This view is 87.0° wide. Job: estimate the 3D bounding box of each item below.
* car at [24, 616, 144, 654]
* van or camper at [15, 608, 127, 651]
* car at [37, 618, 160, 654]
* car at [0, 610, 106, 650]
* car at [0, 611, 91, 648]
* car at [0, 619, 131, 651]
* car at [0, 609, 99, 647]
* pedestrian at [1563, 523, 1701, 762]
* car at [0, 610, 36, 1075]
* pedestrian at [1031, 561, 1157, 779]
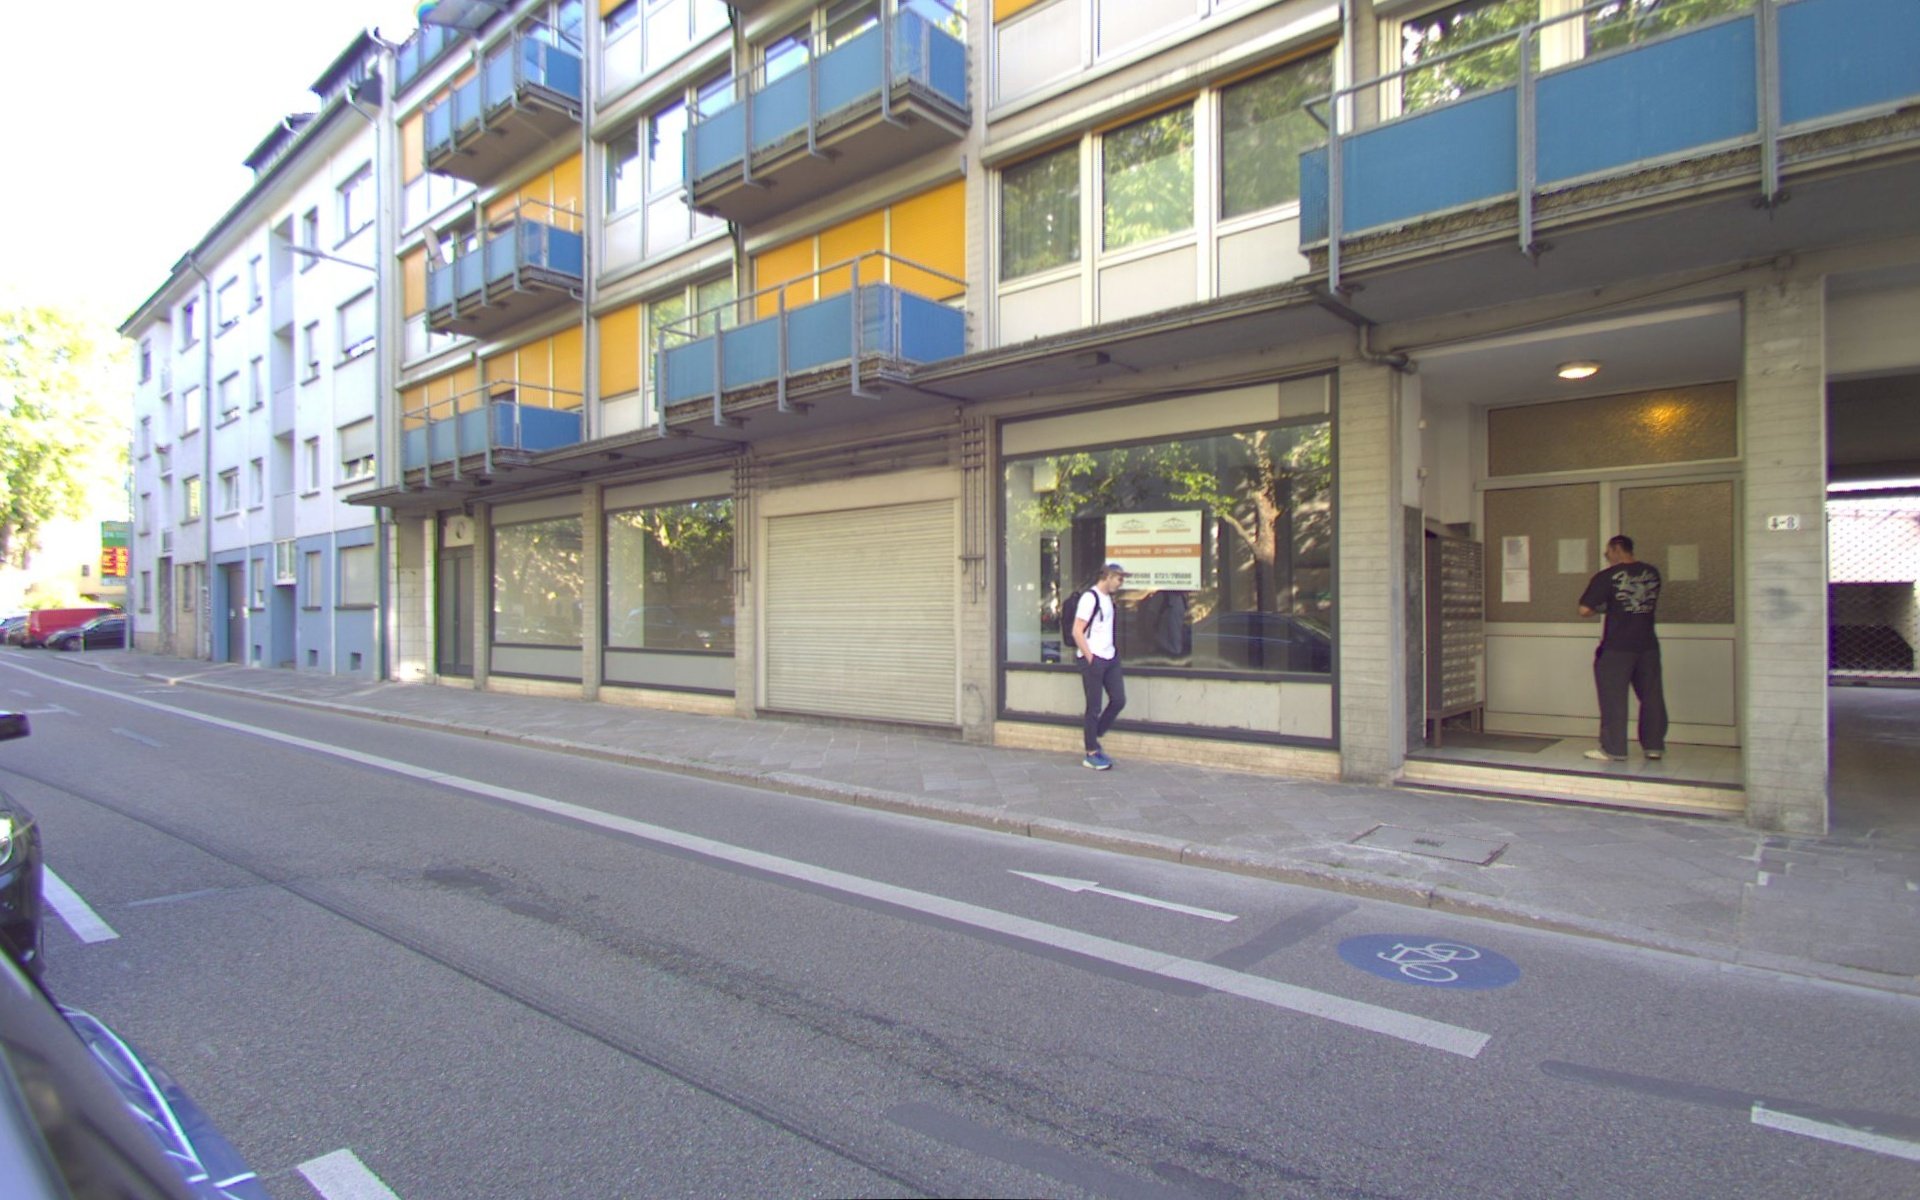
[{"bbox_3d":[-41.629,1.617,48.164,1.999,1.703,4.093,-1,-1,41],"label":"car"},{"bbox_3d":[-43.885,1.427,50.007,1.999,2.029,3.946,-1,-1,40],"label":"van or camper"},{"bbox_3d":[-39.748,1.628,46.780,1.999,1.506,4.093,-1,-1,41],"label":"car"},{"bbox_3d":[-53.311,1.732,59.198,1.999,2.210,4.927,-1,-1,41],"label":"car"},{"bbox_3d":[-57.391,1.818,62.858,1.999,2.210,4.927,-1,-1,41],"label":"car"},{"bbox_3d":[-45.717,1.747,51.699,1.999,1.506,4.927,-1,-1,41],"label":"car"},{"bbox_3d":[-55.398,1.668,61.149,1.999,2.210,4.927,-1,-1,41],"label":"car"},{"bbox_3d":[5.088,0.306,7.681,0.650,1.726,0.550,0,-1,-16],"label":"pedestrian"},{"bbox_3d":[-5.001,0.799,3.856,3.861,1.467,1.718,-1,-1,40],"label":"car"},{"bbox_3d":[1.177,0.583,8.936,0.879,1.813,0.593,-1,0,41],"label":"pedestrian"}]
